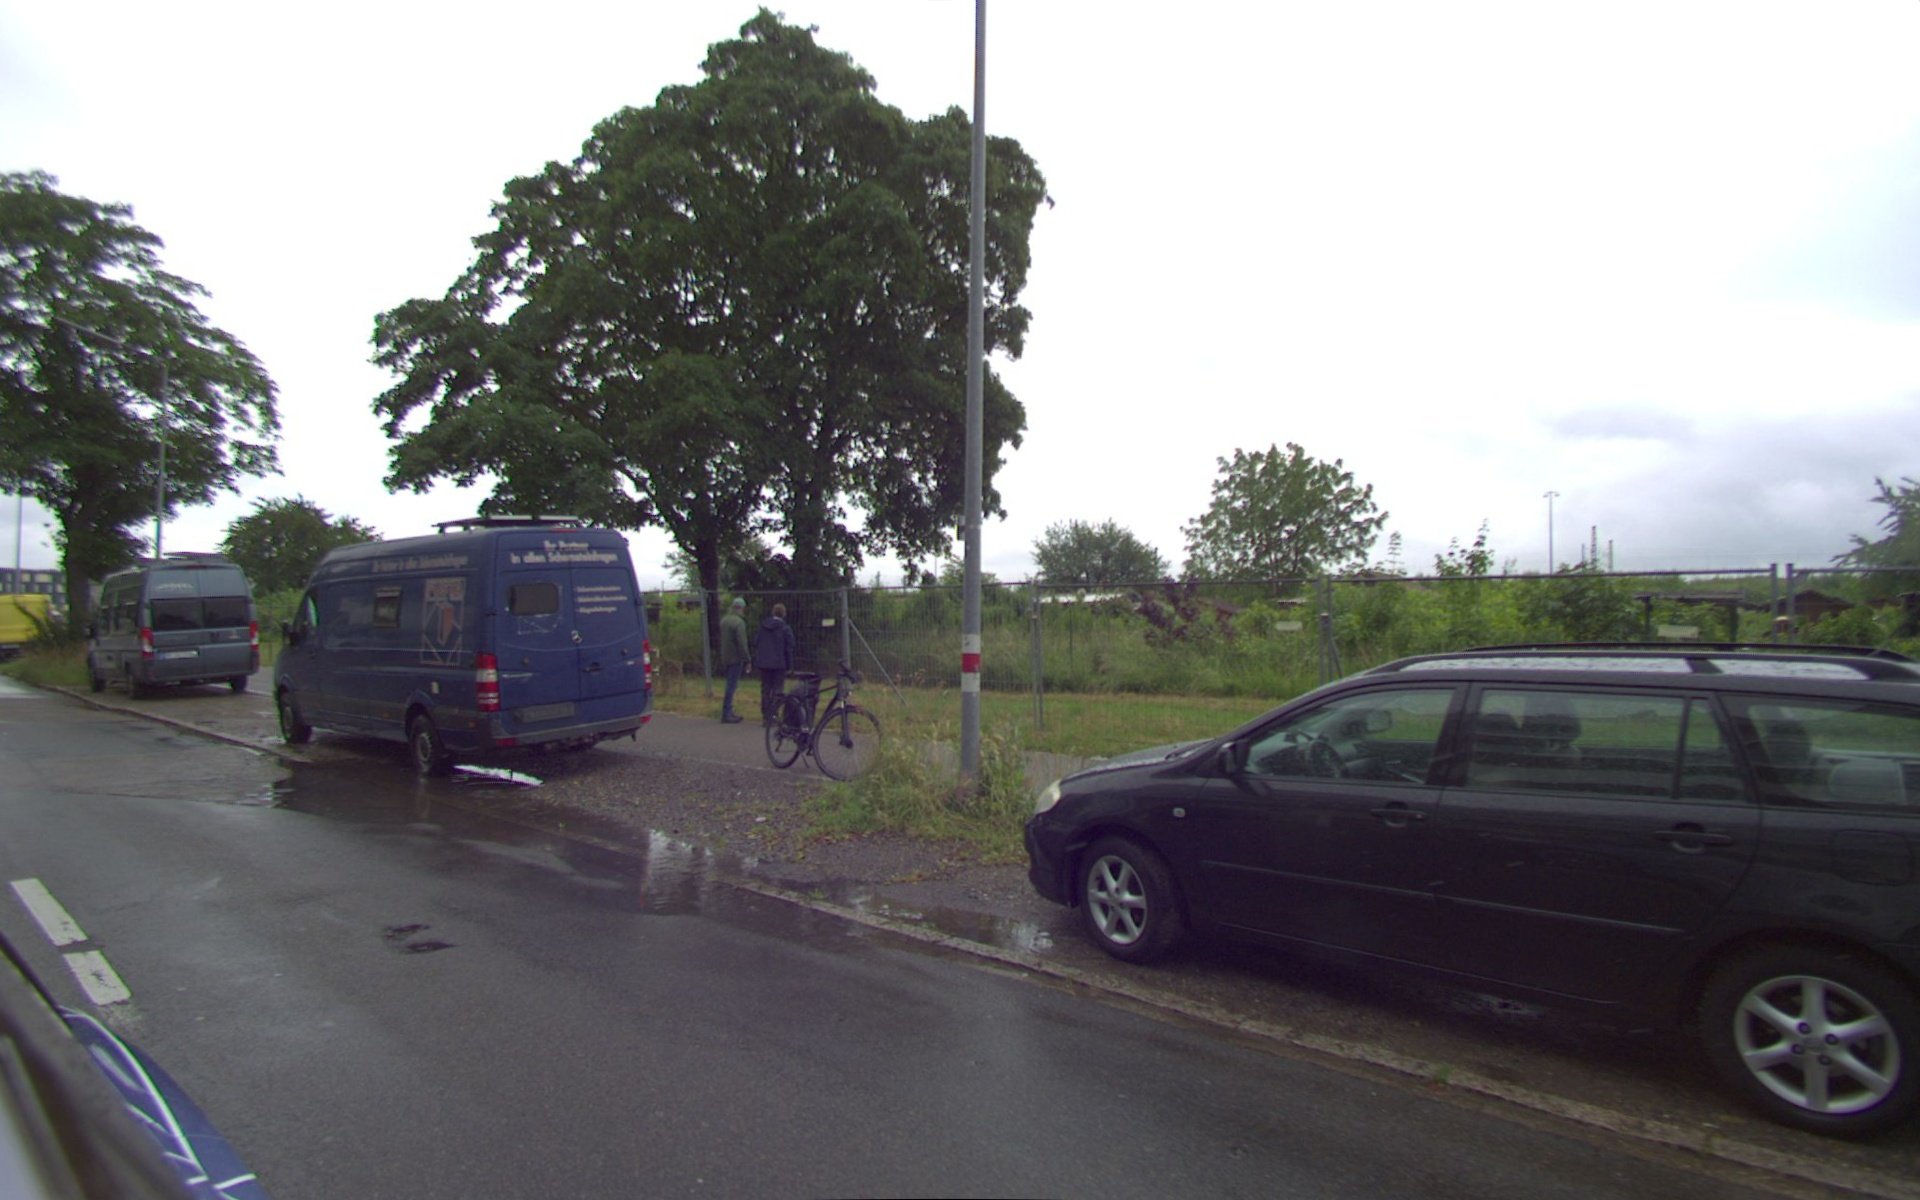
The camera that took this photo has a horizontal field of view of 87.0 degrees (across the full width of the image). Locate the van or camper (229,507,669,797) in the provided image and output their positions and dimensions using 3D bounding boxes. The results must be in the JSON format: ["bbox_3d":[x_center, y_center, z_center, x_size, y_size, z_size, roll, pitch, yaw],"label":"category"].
[{"bbox_3d":[-6.794,0.491,12.759,7.567,2.736,2.074,-1,1,40],"label":"van or camper"}]

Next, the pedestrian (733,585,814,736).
[{"bbox_3d":[-2.609,0.820,14.144,0.853,2.029,0.712,-1,0,40],"label":"pedestrian"}]

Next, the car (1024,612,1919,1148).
[{"bbox_3d":[2.711,0.836,4.184,4.826,1.514,1.755,-1,0,42],"label":"car"}]

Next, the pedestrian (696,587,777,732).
[{"bbox_3d":[-3.267,0.835,14.778,0.900,2.029,0.730,-1,0,40],"label":"pedestrian"}]

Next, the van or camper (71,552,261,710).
[{"bbox_3d":[-18.078,0.610,22.884,6.419,3.117,2.073,-1,1,40],"label":"van or camper"}]

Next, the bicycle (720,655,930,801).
[{"bbox_3d":[-1.399,1.152,9.815,0.686,1.159,2.685,-1,-1,-39],"label":"bicycle"}]

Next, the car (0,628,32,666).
[{"bbox_3d":[-41.382,2.002,43.182,5.336,1.445,1.990,-1,1,41],"label":"car"}]

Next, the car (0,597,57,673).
[{"bbox_3d":[-36.712,1.333,39.043,6.081,2.714,2.168,-1,1,43],"label":"car"}]

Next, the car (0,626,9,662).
[{"bbox_3d":[-45.513,2.045,46.555,5.014,1.606,1.973,-1,1,40],"label":"car"}]
